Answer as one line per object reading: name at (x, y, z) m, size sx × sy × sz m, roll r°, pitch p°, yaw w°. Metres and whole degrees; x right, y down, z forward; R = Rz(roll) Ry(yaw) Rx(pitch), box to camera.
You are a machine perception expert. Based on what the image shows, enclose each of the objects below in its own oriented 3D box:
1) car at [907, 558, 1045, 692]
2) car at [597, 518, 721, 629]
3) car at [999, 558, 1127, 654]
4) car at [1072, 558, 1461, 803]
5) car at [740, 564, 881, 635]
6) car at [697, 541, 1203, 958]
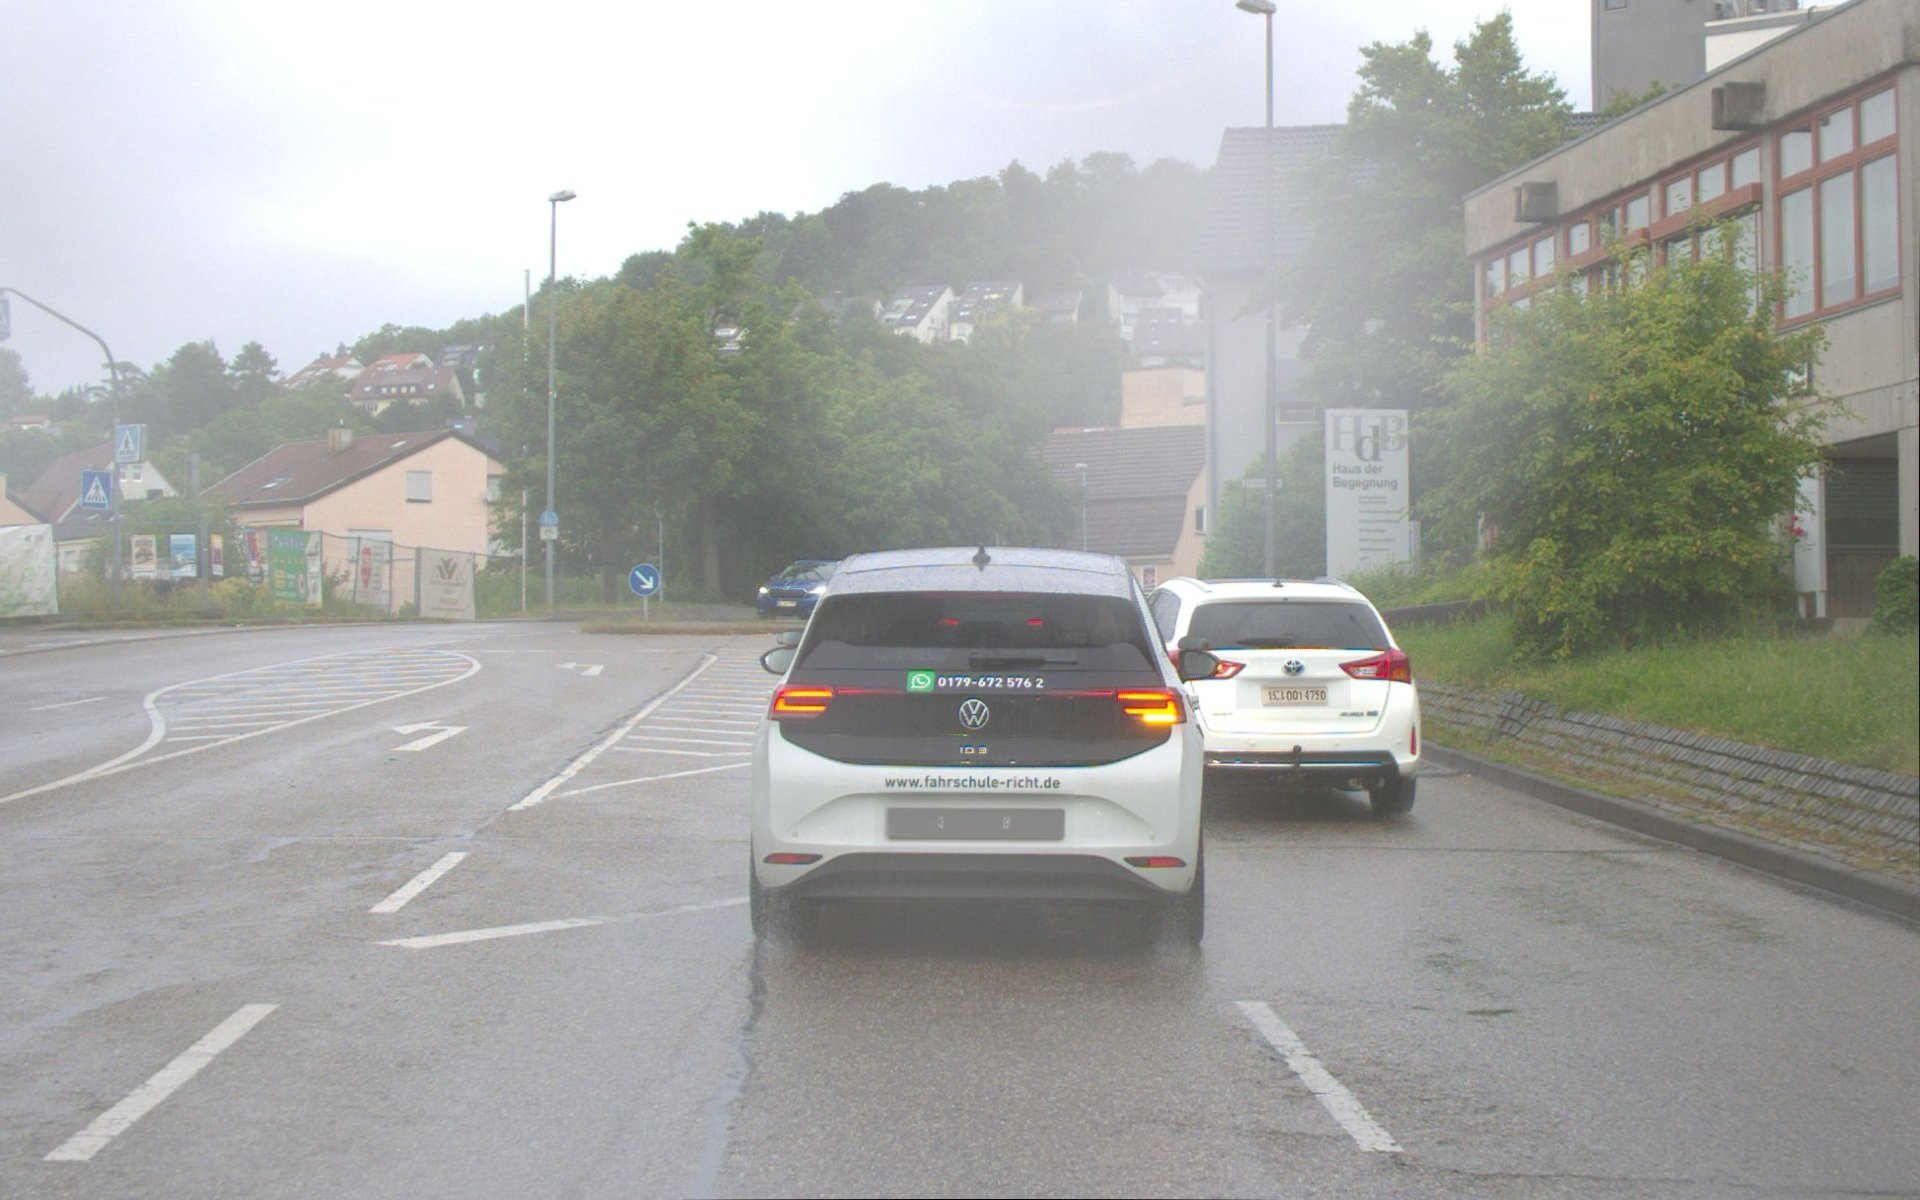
car at (0.166, 0.267, 41.304) m, size 1.567 × 1.525 × 4.000 m, roll 0°, pitch 1°, yaw -1°
car at (-5.741, -0.479, 65.969) m, size 1.993 × 2.007 × 4.000 m, roll 1°, pitch -1°, yaw 0°
car at (1.705, 0.105, 56.658) m, size 1.993 × 1.448 × 3.770 m, roll -2°, pitch 0°, yaw 2°
car at (1.853, 0.479, 22.104) m, size 1.848 × 1.405 × 4.302 m, roll 1°, pitch 0°, yaw -4°
car at (-3.724, 0.002, 86.499) m, size 1.995 × 1.687 × 4.701 m, roll 1°, pitch -1°, yaw 18°
car at (0.033, 0.553, 14.600) m, size 1.829 × 1.495 × 4.168 m, roll 1°, pitch 0°, yaw 2°
